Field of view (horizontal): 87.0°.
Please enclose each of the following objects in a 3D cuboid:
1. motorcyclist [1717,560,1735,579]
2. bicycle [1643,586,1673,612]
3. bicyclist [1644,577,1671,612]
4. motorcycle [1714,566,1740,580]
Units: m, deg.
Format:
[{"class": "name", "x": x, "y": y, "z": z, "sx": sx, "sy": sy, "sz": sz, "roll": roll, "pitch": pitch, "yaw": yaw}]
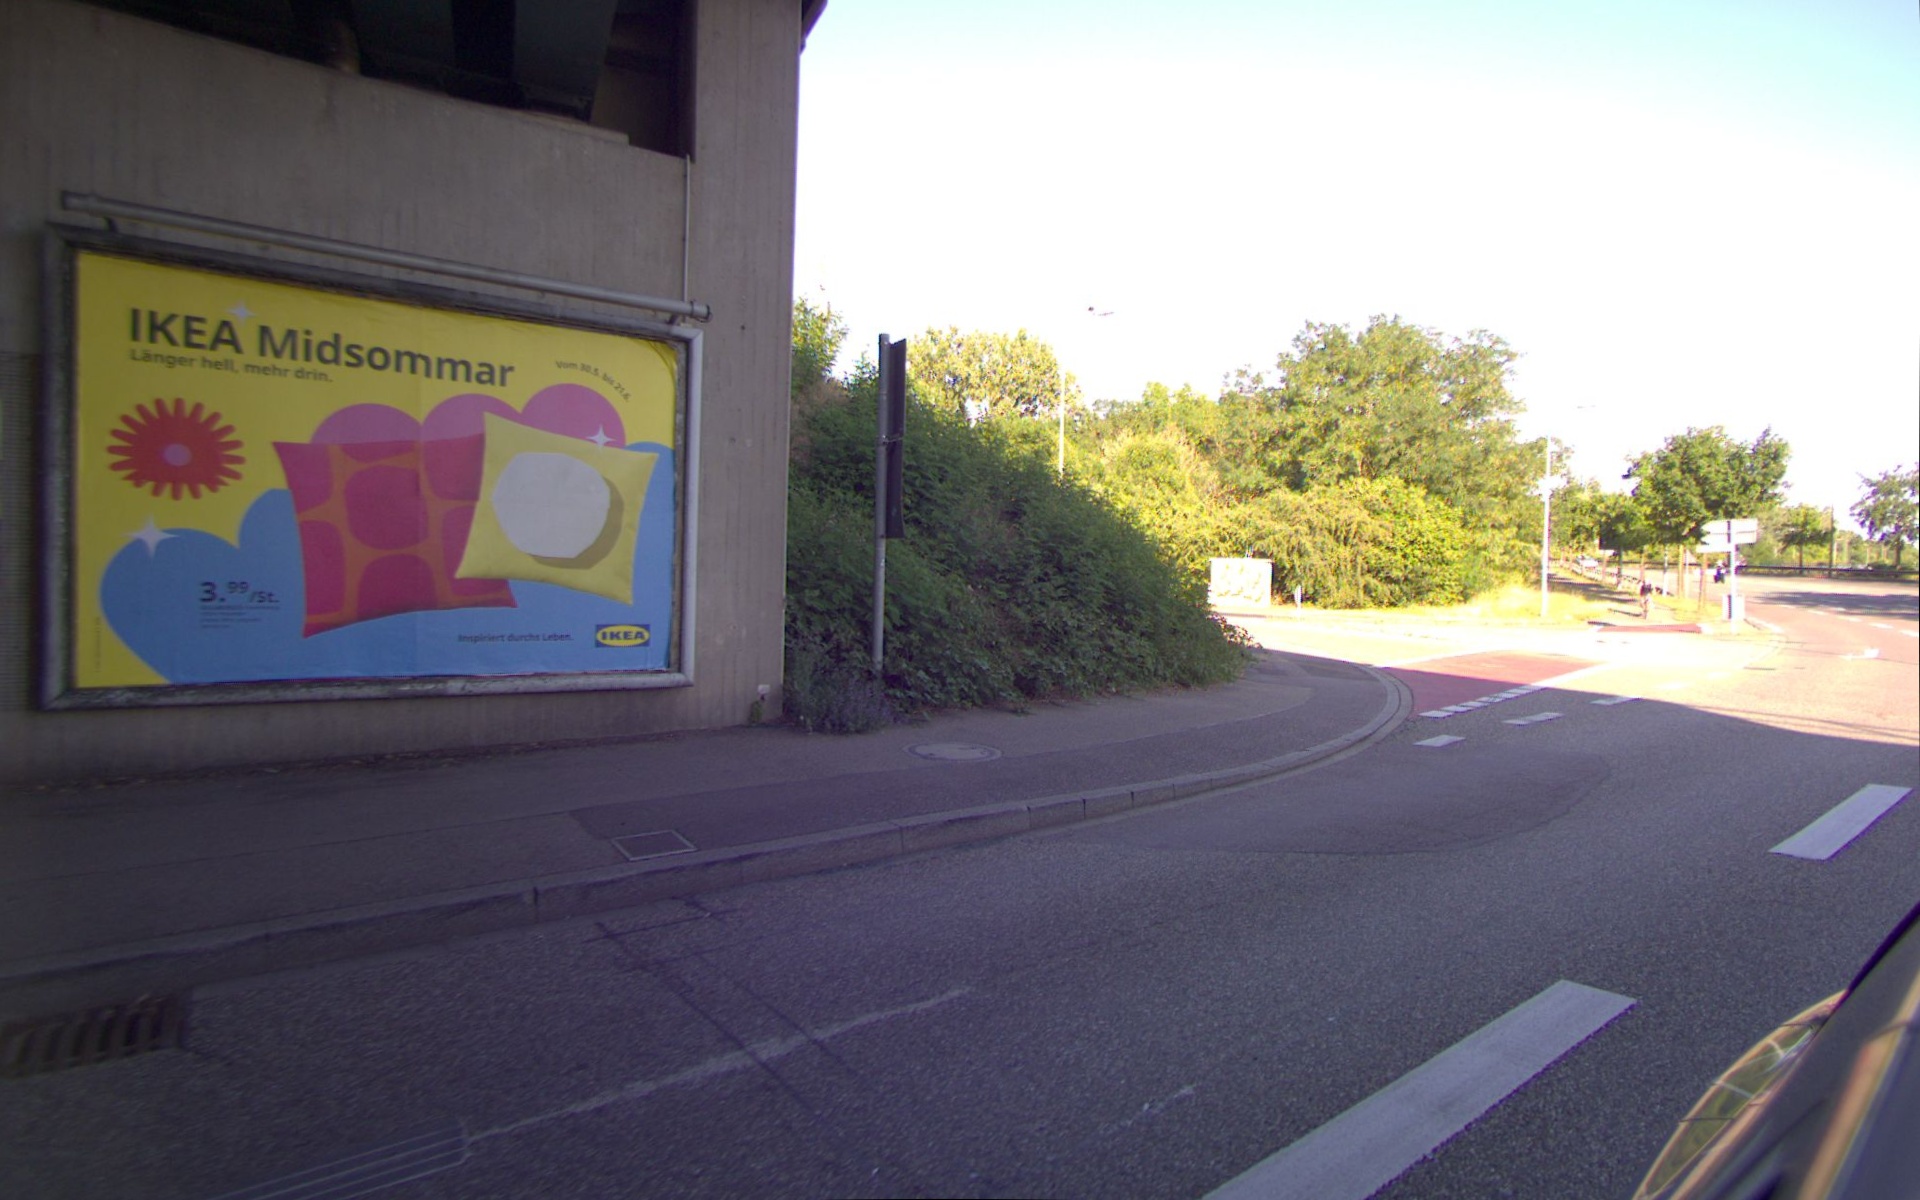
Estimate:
[{"class": "motorcyclist", "x": 58.989, "y": -2.324, "z": 77.911, "sx": 0.861, "sy": 1.460, "sz": 0.841, "roll": -1, "pitch": 0, "yaw": -32}, {"class": "bicycle", "x": 29.101, "y": -0.051, "z": 42.215, "sx": 0.776, "sy": 1.070, "sz": 2.471, "roll": 0, "pitch": 1, "yaw": 29}, {"class": "bicyclist", "x": 29.129, "y": -0.252, "z": 42.275, "sx": 0.836, "sy": 1.439, "sz": 1.102, "roll": 0, "pitch": 0, "yaw": 30}, {"class": "motorcycle", "x": 59.085, "y": -2.101, "z": 77.965, "sx": 2.307, "sy": 1.059, "sz": 0.812, "roll": -1, "pitch": 1, "yaw": -32}]
